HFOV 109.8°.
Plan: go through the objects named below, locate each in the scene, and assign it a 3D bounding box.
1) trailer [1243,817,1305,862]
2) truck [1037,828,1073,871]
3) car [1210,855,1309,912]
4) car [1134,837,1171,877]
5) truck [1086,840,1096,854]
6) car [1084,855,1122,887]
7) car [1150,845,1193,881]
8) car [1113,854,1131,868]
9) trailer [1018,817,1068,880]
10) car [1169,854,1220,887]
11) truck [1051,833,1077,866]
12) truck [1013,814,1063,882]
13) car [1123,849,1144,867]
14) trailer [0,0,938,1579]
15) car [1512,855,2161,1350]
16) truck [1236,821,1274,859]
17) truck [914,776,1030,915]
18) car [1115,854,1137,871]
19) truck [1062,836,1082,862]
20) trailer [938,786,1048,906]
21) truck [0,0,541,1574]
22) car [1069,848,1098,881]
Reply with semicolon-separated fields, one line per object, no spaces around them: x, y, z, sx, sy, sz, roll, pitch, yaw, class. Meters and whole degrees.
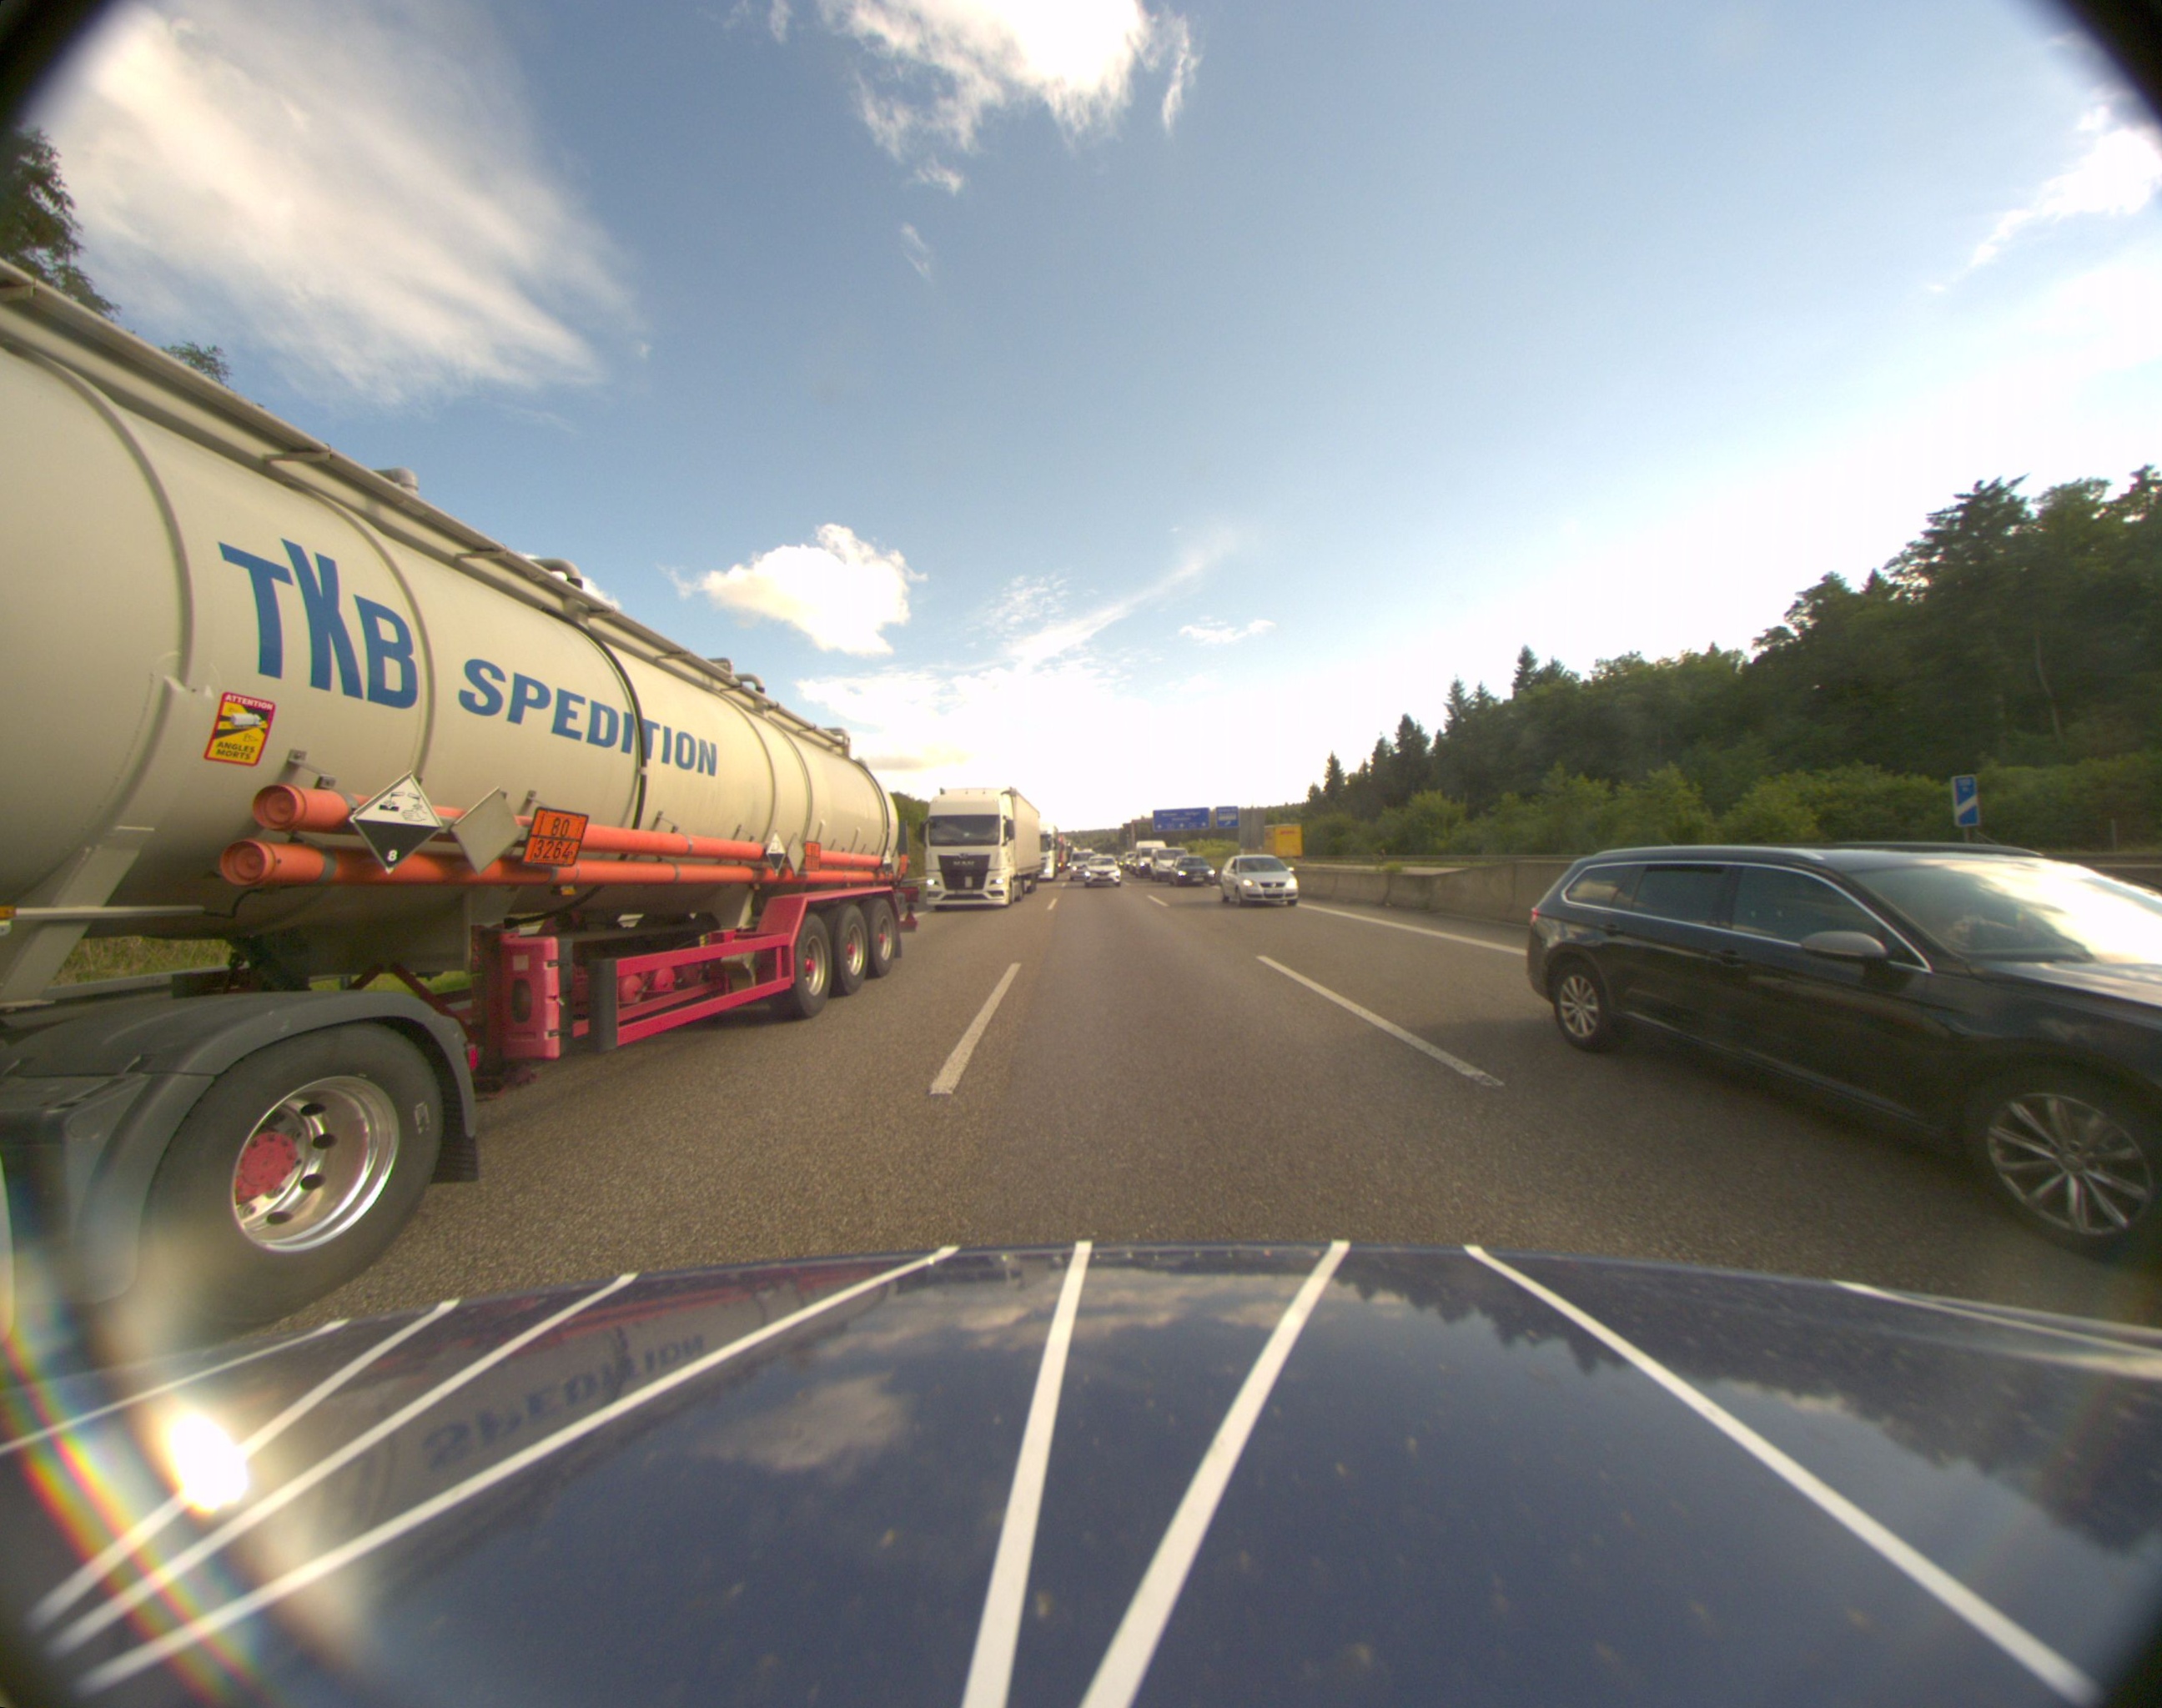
19.977;-1.492;79.621;2.841;4.178;13.560;-2;1;0;trailer
-2.693;-0.527;82.721;2.841;4.178;12.045;-2;1;2;truck
5.153;0.782;22.529;1.809;1.423;4.666;-2;0;0;car
4.914;0.187;52.941;2.054;2.557;5.861;-1;0;0;car
3.100;-2.259;235.301;2.841;4.178;12.045;-2;1;2;truck
1.073;0.824;39.489;1.809;1.487;4.666;-2;0;0;car
5.246;0.501;44.697;1.947;1.953;4.847;-2;0;0;car
4.763;0.847;88.966;1.920;1.535;3.811;-2;0;0;car
-2.713;-0.400;58.247;2.841;4.177;13.612;-2;0;1;trailer
5.406;0.735;36.617;1.809;1.423;3.993;-2;0;0;car
-2.260;-0.679;107.396;2.841;4.178;12.045;-2;1;2;truck
-2.803;-0.378;51.078;2.841;4.177;5.707;-2;0;1;truck
5.514;0.439;79.907;1.920;1.785;3.811;-2;0;0;car
-3.944;-0.257;7.053;2.805;4.003;11.182;-2;0;1;trailer
4.368;0.781;3.832;1.915;1.469;4.569;-2;0;2;car
19.958;-1.586;87.345;2.841;4.178;6.078;-2;1;0;truck
-3.443;-0.266;25.493;2.841;4.048;5.707;-2;0;1;truck
4.196;0.775;70.815;1.809;1.423;3.660;-2;0;0;car
-1.600;-0.919;135.364;2.841;4.178;12.045;-2;1;2;truck
-3.318;-0.308;32.731;2.833;4.047;13.371;-2;0;1;trailer
-4.054;-0.250;0.602;2.810;4.020;5.903;-2;0;1;truck
0.186;0.641;51.134;1.809;2.052;4.769;-2;0;0;car
